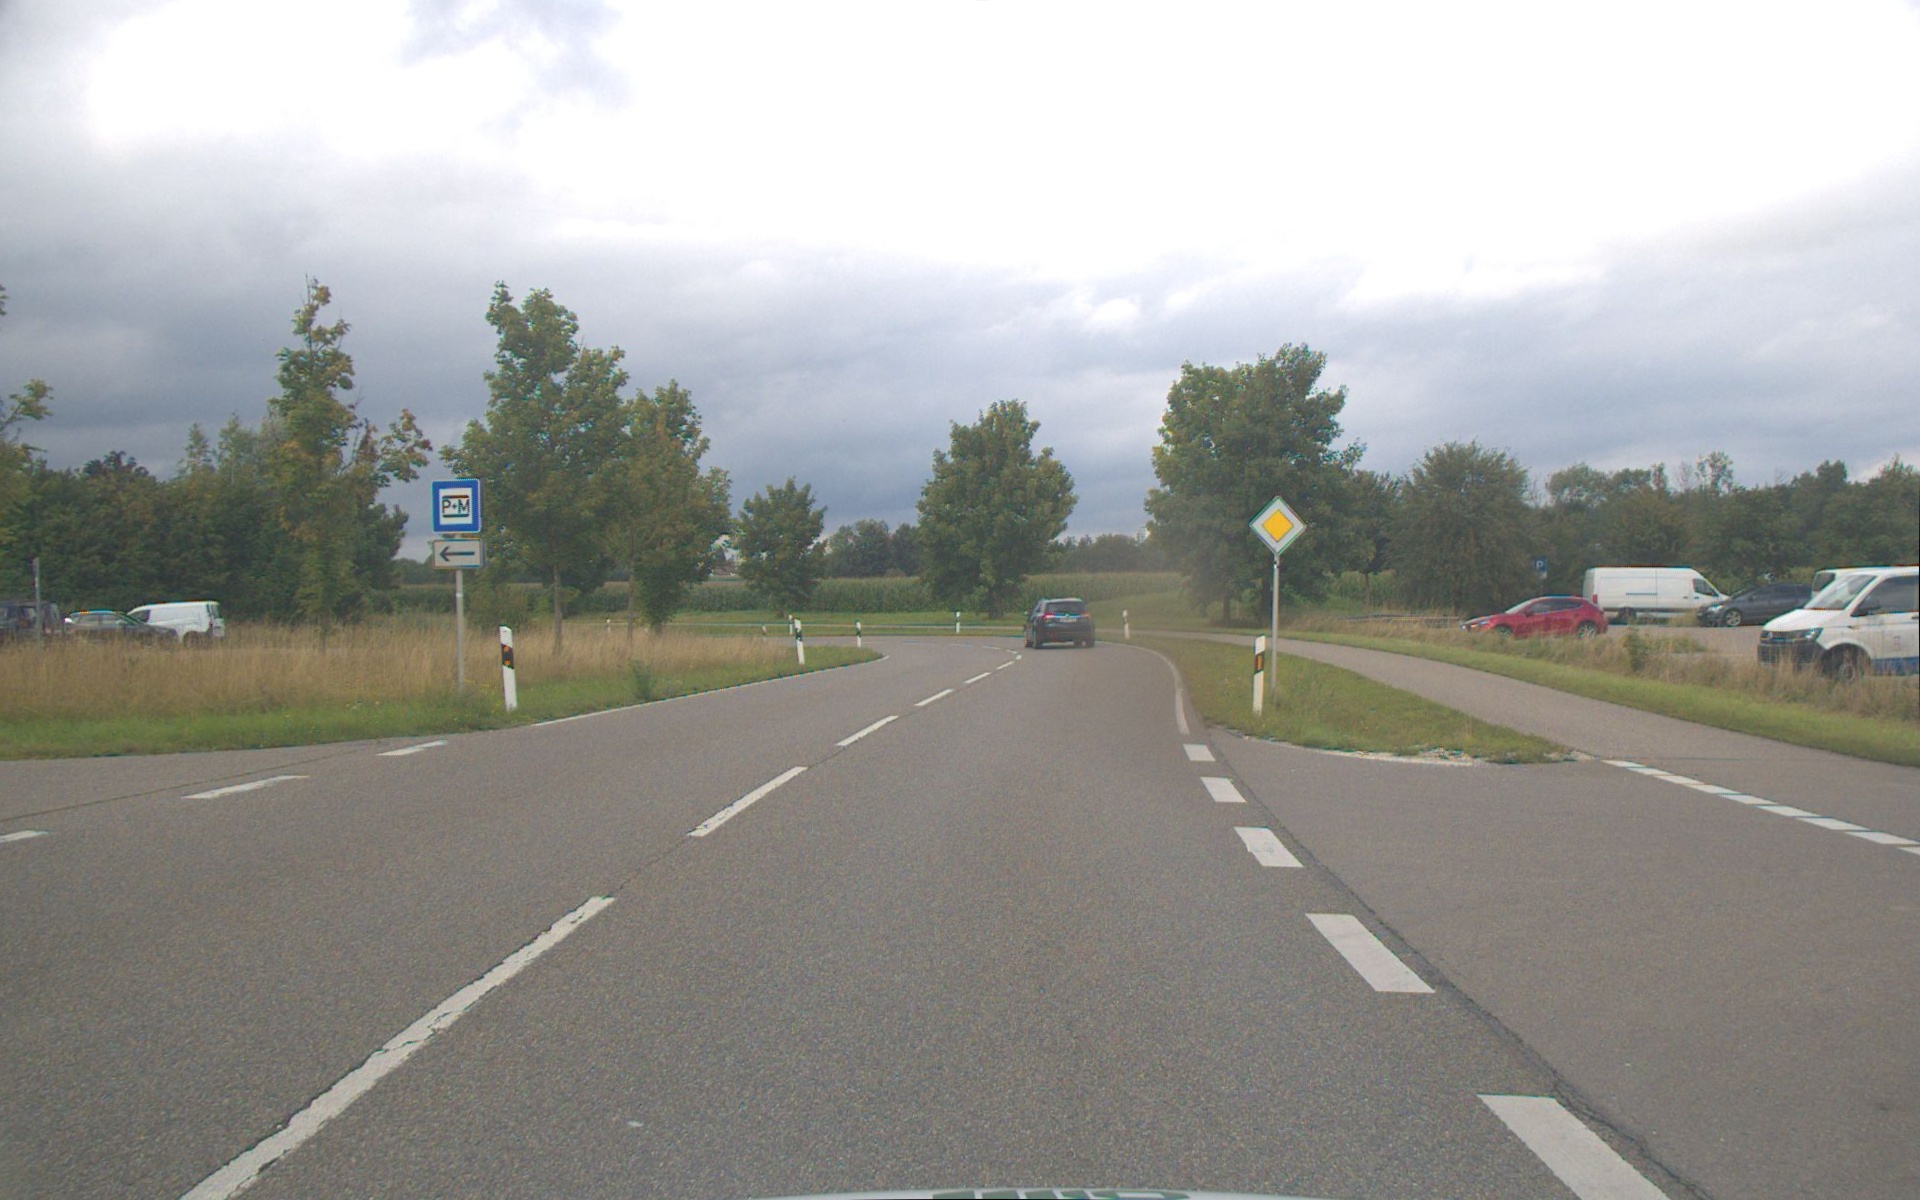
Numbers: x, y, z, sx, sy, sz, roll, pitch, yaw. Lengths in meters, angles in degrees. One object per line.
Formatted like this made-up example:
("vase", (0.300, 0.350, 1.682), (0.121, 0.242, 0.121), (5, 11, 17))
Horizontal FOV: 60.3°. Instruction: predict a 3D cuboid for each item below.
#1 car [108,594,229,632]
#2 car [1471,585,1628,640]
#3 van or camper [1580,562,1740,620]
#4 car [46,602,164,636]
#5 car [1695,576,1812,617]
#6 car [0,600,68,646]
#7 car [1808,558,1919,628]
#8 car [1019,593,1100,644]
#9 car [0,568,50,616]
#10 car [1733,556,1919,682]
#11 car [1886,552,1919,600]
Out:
("car", (-30.164, 0.478, 63.140), (3.919, 1.404, 1.471), (0, 0, -14))
("car", (18.648, 0.385, 52.460), (4.239, 1.603, 1.972), (-2, 0, 2))
("van or camper", (32.699, -0.411, 77.420), (6.599, 2.606, 2.050), (0, 0, 7))
("car", (-30.930, 0.679, 59.918), (3.537, 1.187, 1.330), (0, 0, -7))
("car", (29.470, -0.128, 61.464), (3.549, 1.465, 1.707), (0, 0, 5))
("car", (-30.096, 0.710, 51.457), (3.926, 1.404, 1.468), (0, 0, -19))
("car", (29.398, -0.260, 51.406), (4.921, 2.035, 2.232), (-2, 0, 2))
("car", (2.930, 0.523, 49.610), (1.806, 1.442, 3.995), (0, 0, -6))
("car", (-28.981, -0.234, 48.390), (3.927, 1.404, 1.468), (0, 0, -20))
("car", (15.673, 0.298, 27.377), (4.842, 2.008, 1.956), (0, 0, 3))
("car", (34.045, -0.824, 56.335), (3.908, 1.624, 1.999), (0, 0, -4))
